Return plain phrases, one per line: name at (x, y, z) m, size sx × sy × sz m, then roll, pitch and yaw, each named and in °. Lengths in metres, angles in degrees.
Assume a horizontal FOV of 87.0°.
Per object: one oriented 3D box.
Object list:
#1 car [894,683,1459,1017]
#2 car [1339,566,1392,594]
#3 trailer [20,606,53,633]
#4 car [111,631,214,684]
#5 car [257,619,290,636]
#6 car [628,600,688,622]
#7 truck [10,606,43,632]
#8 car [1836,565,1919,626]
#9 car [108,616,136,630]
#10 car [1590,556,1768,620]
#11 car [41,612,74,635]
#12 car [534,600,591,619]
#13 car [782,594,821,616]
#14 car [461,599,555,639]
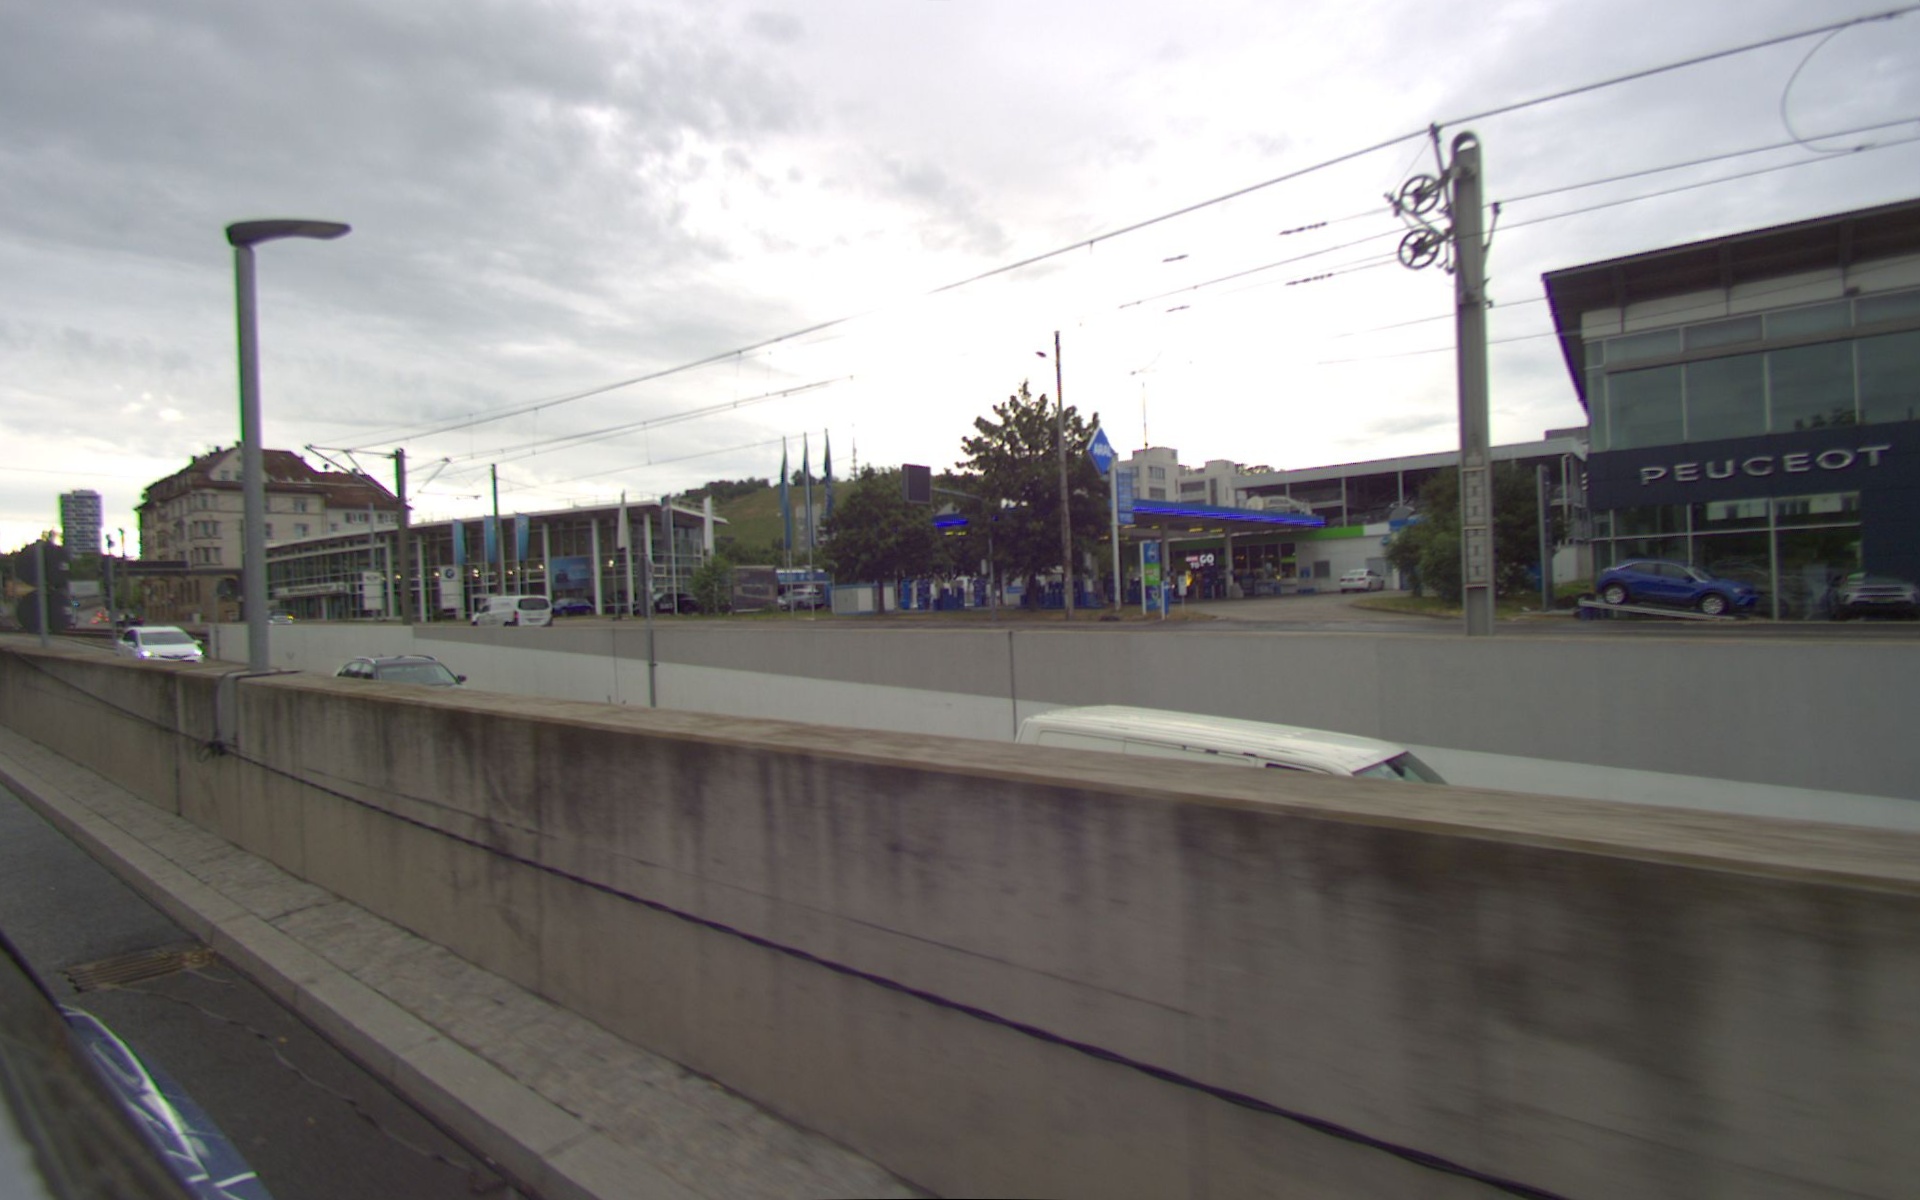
car at (1.740, 1.905, 9.246) m, size 4.716 × 1.973 × 1.889 m, roll -1°, pitch 0°, yaw 41°
car at (25.940, -1.288, 64.650) m, size 1.857 × 1.652 × 3.944 m, roll -2°, pitch 1°, yaw 42°
trailer at (-145.422, 3.001, 159.299) m, size 9.076 × 4.082 × 2.656 m, roll -1°, pitch 0°, yaw 40°
car at (-26.811, 1.861, 33.976) m, size 4.316 × 1.585 × 1.956 m, roll -1°, pitch 0°, yaw 41°
car at (-54.133, 2.158, 79.835) m, size 2.798 × 1.309 × 1.368 m, roll -1°, pitch 1°, yaw 39°
car at (-20.221, 0.727, 67.790) m, size 1.717 × 1.284 × 3.476 m, roll -1°, pitch 1°, yaw 44°
truck at (-152.665, 3.131, 165.483) m, size 10.135 × 4.082 × 2.656 m, roll -1°, pitch 0°, yaw 40°
car at (25.761, -0.076, 28.350) m, size 1.572 × 1.413 × 3.470 m, roll -3°, pitch -6°, yaw 37°
car at (-93.069, 2.528, 112.401) m, size 4.337 × 1.527 × 1.724 m, roll -1°, pitch 0°, yaw 41°
car at (21.975, -0.439, 31.043) m, size 1.740 × 1.621 × 4.073 m, roll -2°, pitch 6°, yaw -42°
car at (-109.621, 2.833, 122.907) m, size 6.160 × 2.618 × 2.030 m, roll -1°, pitch 1°, yaw 40°
car at (-29.490, 0.695, 75.160) m, size 1.747 × 1.244 × 3.974 m, roll -1°, pitch 1°, yaw 20°
car at (-12.040, 0.414, 76.914) m, size 2.798 × 1.584 × 1.368 m, roll -1°, pitch 1°, yaw 39°
car at (-20.949, 0.890, 46.810) m, size 5.031 × 1.708 × 1.980 m, roll -1°, pitch 0°, yaw 40°
